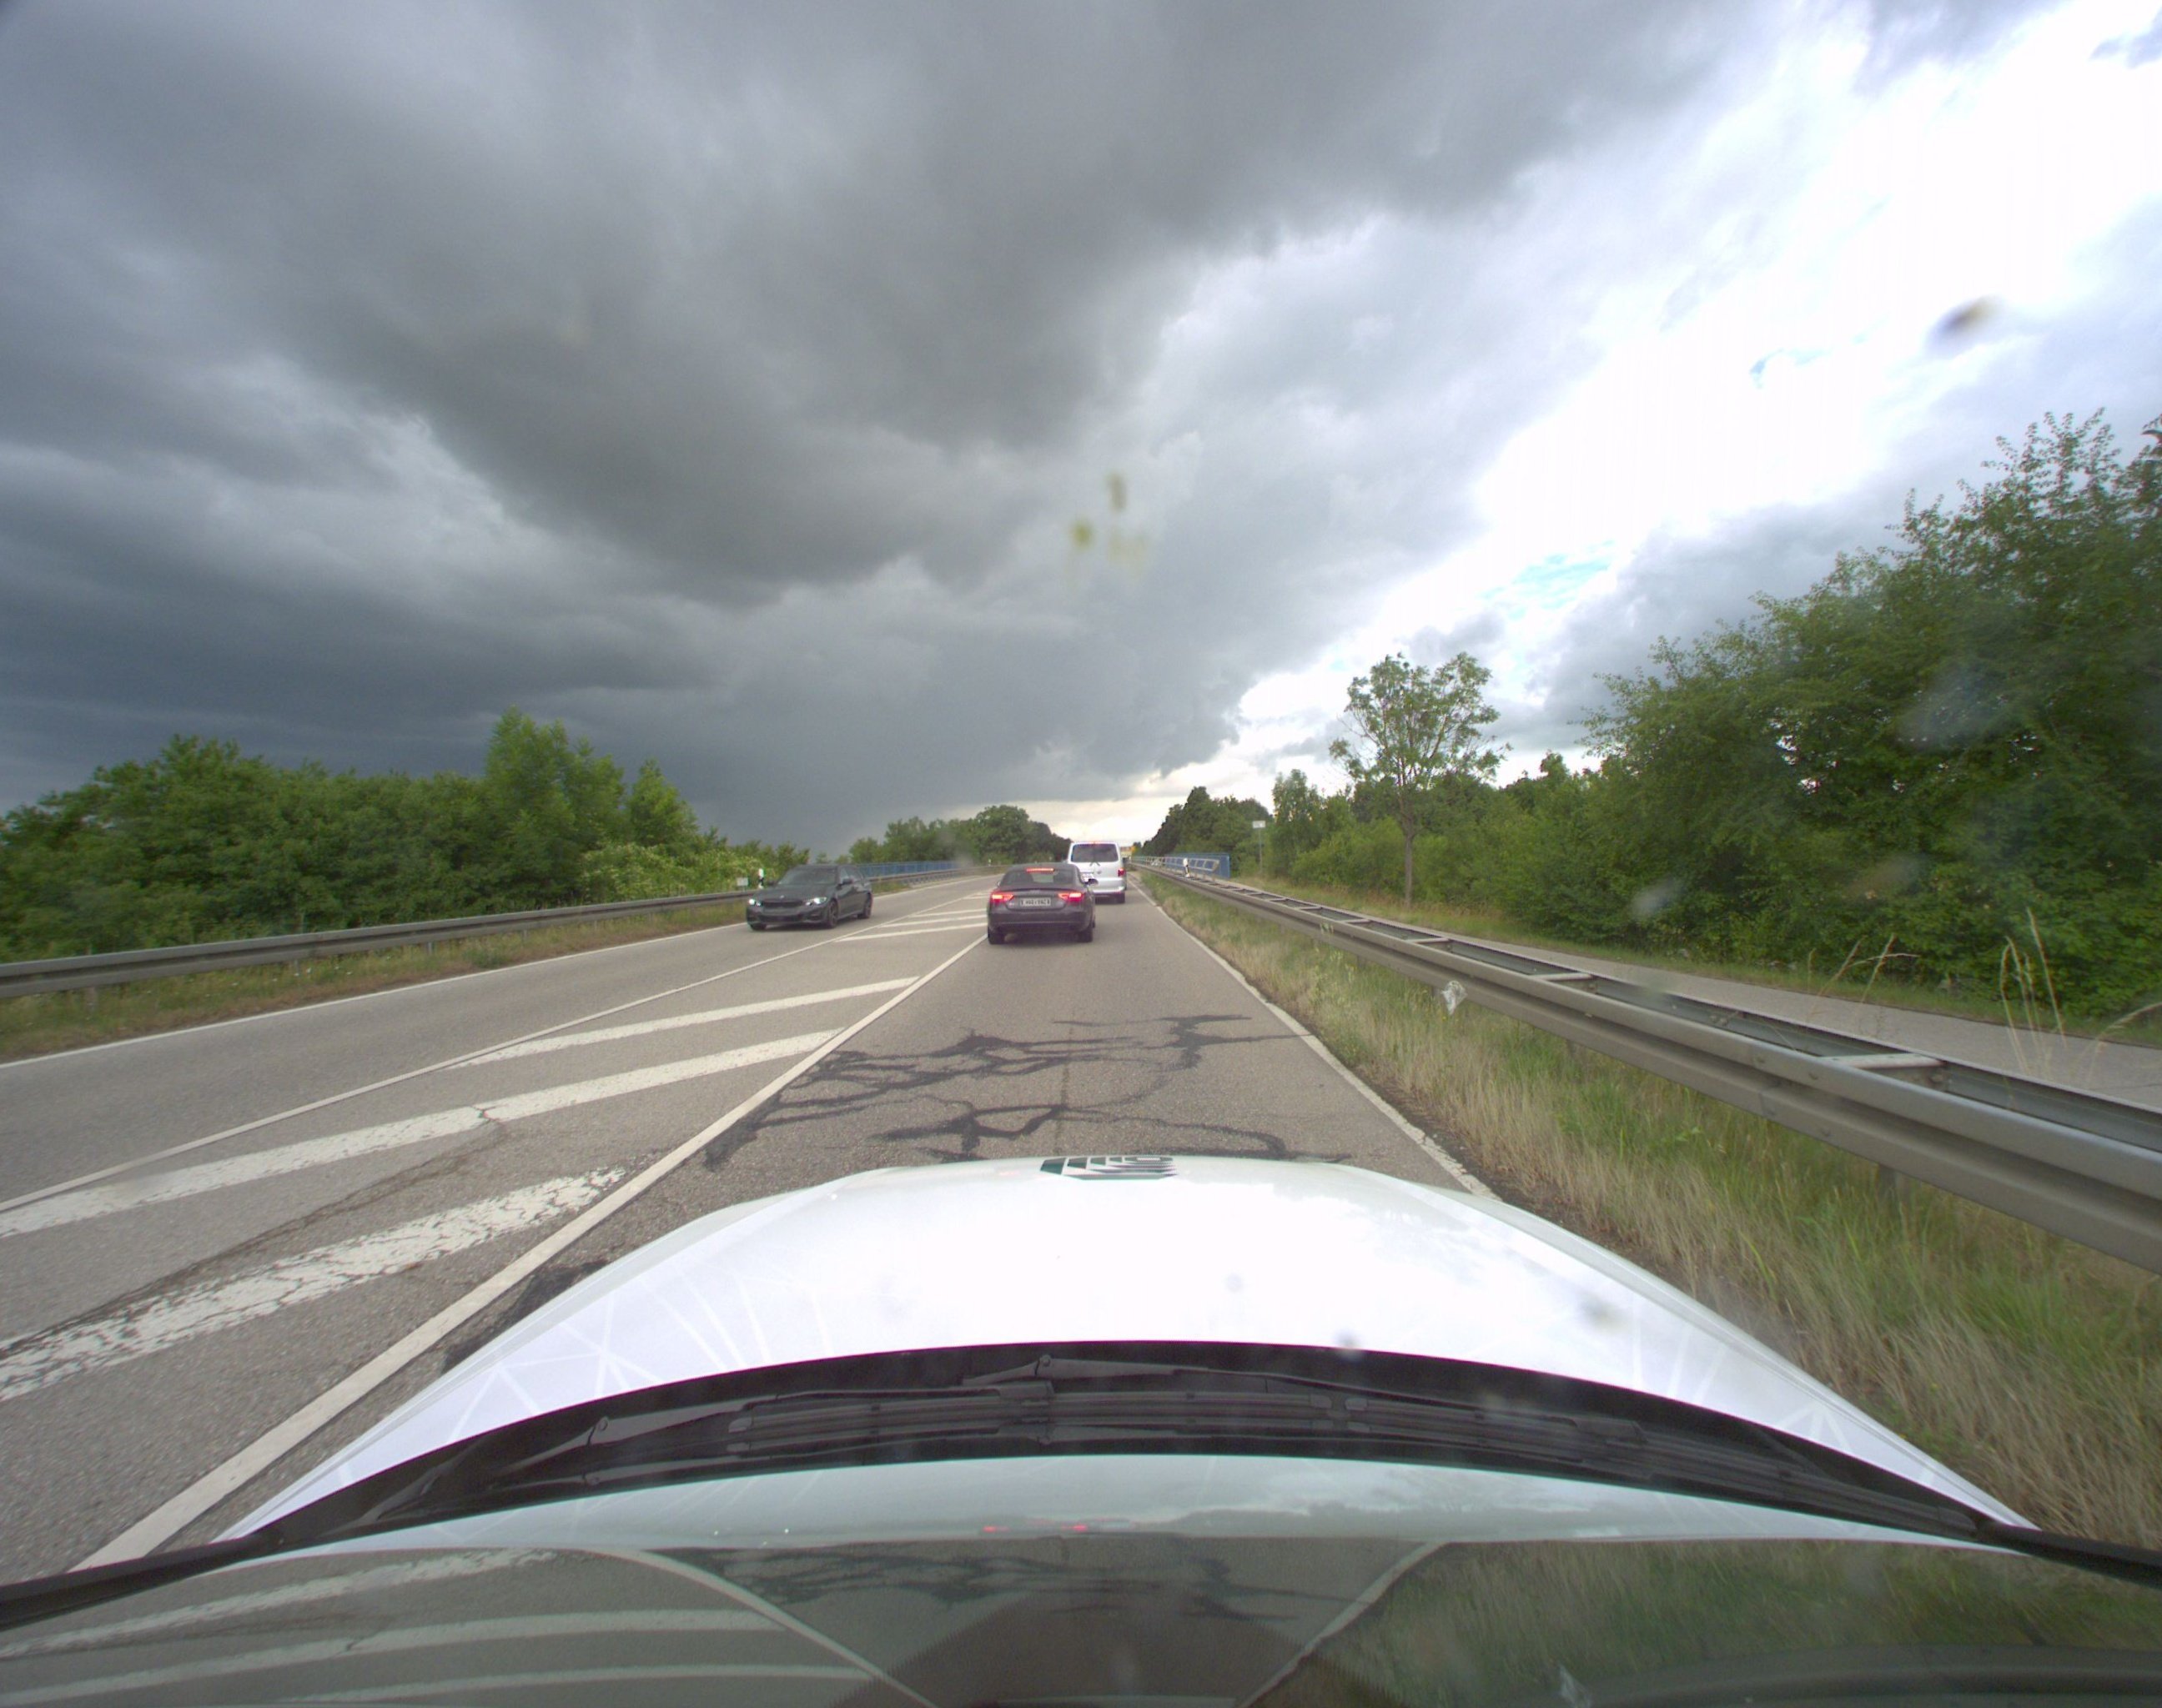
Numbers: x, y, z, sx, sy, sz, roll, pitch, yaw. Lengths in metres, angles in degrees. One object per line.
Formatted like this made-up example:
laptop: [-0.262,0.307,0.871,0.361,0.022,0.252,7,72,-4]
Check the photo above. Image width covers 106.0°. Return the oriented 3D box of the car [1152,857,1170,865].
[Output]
car: [19.356,1.734,197.918,3.951,2.014,2.011,-1,-1,23]

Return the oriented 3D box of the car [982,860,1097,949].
car: [-0.633,0.835,15.316,1.815,1.381,4.073,-2,0,1]

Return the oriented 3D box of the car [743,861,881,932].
car: [-6.331,0.922,19.706,1.793,1.450,4.445,-2,0,0]

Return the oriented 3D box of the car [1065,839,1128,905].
car: [0.529,0.545,26.506,1.822,1.935,4.001,-2,0,1]

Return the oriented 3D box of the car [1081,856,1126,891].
car: [1.035,0.816,35.548,1.814,1.381,4.074,-2,0,3]
